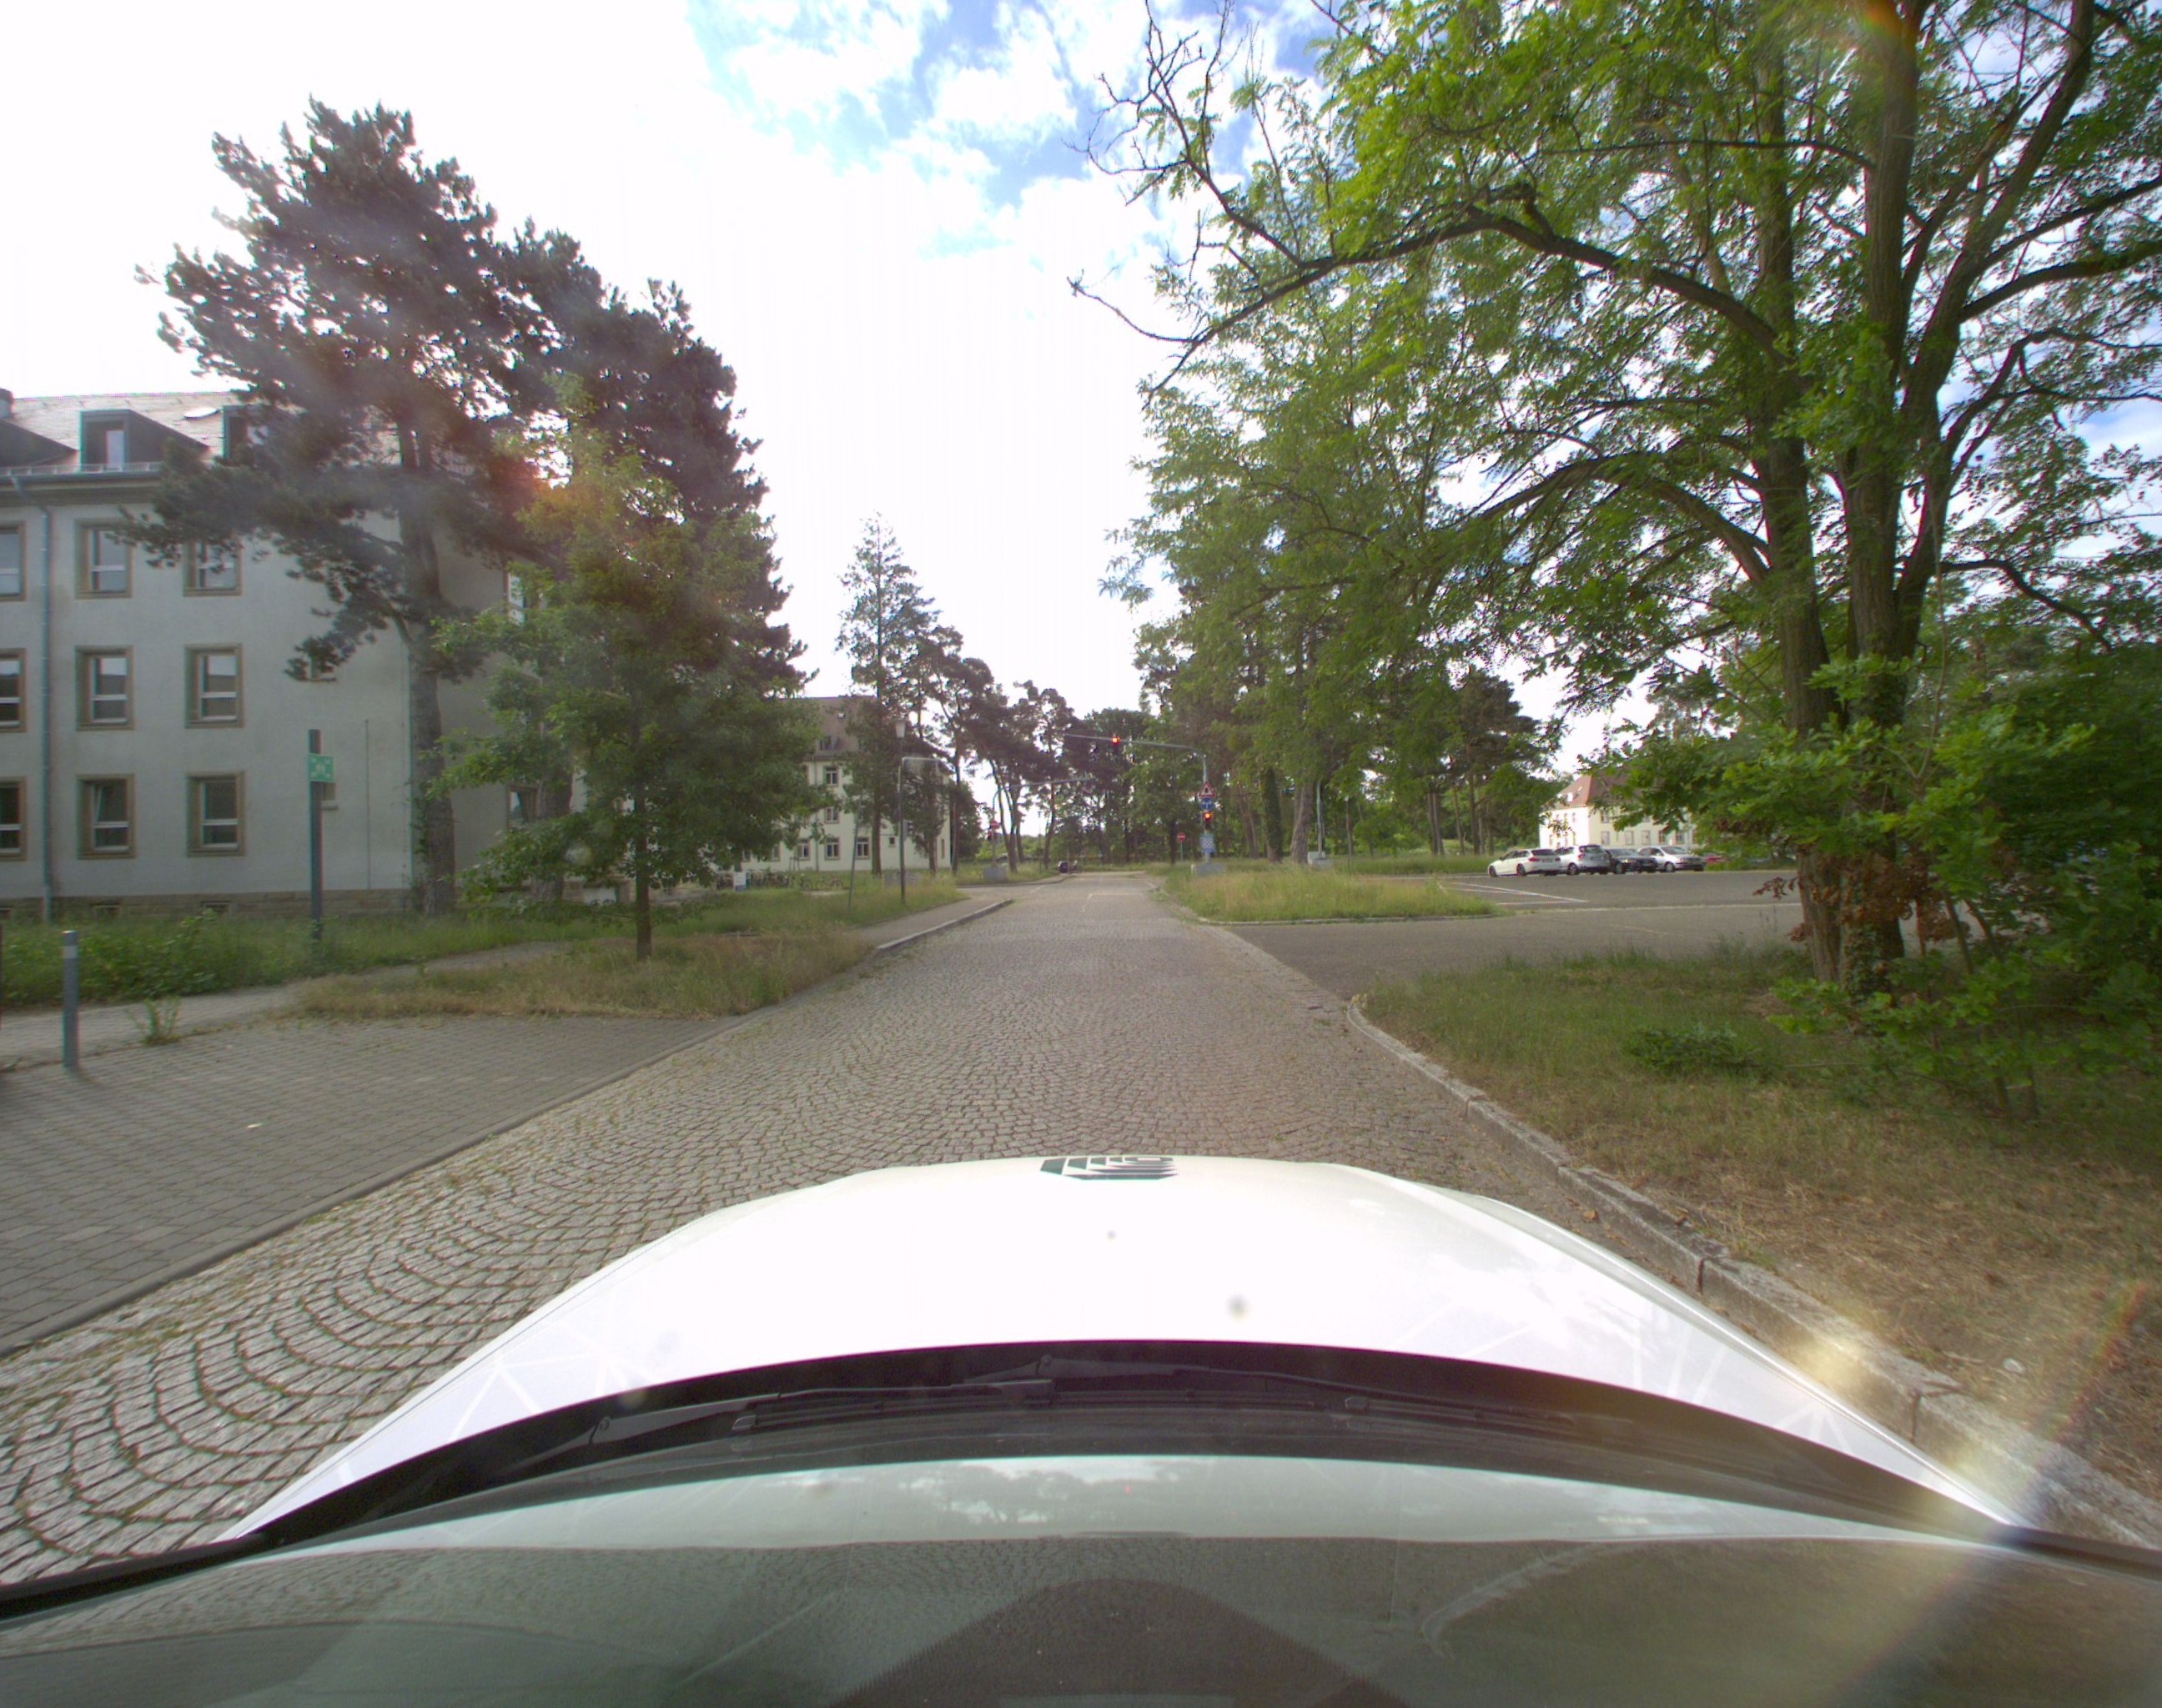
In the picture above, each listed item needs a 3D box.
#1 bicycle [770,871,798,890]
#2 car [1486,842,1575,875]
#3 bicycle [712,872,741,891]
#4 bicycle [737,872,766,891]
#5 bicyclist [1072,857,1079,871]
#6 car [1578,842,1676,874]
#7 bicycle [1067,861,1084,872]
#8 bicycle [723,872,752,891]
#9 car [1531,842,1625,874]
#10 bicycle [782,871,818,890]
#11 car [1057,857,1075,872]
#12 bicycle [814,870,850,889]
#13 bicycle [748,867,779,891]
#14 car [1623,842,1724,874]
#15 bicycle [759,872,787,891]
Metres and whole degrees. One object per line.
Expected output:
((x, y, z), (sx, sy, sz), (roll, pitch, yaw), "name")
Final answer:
((-18.274, 1.634, 50.143), (0.733, 1.076, 2.274), (-2, 0, 2), "bicycle")
((22.931, 0.272, 41.766), (1.988, 1.481, 4.421), (-2, -2, -2), "car")
((-21.832, 1.685, 50.190), (0.733, 1.076, 2.274), (-2, 0, 2), "bicycle")
((-20.442, 1.682, 50.579), (0.733, 1.076, 2.274), (-2, 0, 2), "bicycle")
((-0.681, 1.214, 98.939), (0.747, 1.671, 0.525), (0, -1, -4), "bicyclist")
((28.116, 0.271, 42.117), (1.988, 1.481, 4.421), (-2, -2, -2), "car")
((-0.657, 1.536, 98.936), (1.966, 1.320, 0.517), (0, -1, -5), "bicycle")
((-21.104, 1.669, 50.101), (0.733, 1.076, 2.274), (-2, 0, 2), "bicycle")
((25.446, 0.271, 41.887), (1.988, 1.481, 4.421), (-2, -2, -2), "car")
((-16.834, 1.579, 48.858), (1.848, 1.076, 0.739), (-2, -1, 3), "bicycle")
((-1.952, 1.300, 105.922), (2.048, 1.846, 4.001), (-2, 0, 1), "car")
((-14.951, 1.541, 48.853), (1.848, 1.076, 0.832), (-2, -1, 3), "bicycle")
((-19.650, 1.529, 50.452), (0.733, 1.386, 2.712), (-2, 0, 2), "bicycle")
((30.793, 0.252, 42.531), (1.988, 1.523, 4.421), (0, -2, -2), "car")
((-18.917, 1.656, 50.078), (0.733, 1.076, 2.274), (-2, 0, 2), "bicycle")
